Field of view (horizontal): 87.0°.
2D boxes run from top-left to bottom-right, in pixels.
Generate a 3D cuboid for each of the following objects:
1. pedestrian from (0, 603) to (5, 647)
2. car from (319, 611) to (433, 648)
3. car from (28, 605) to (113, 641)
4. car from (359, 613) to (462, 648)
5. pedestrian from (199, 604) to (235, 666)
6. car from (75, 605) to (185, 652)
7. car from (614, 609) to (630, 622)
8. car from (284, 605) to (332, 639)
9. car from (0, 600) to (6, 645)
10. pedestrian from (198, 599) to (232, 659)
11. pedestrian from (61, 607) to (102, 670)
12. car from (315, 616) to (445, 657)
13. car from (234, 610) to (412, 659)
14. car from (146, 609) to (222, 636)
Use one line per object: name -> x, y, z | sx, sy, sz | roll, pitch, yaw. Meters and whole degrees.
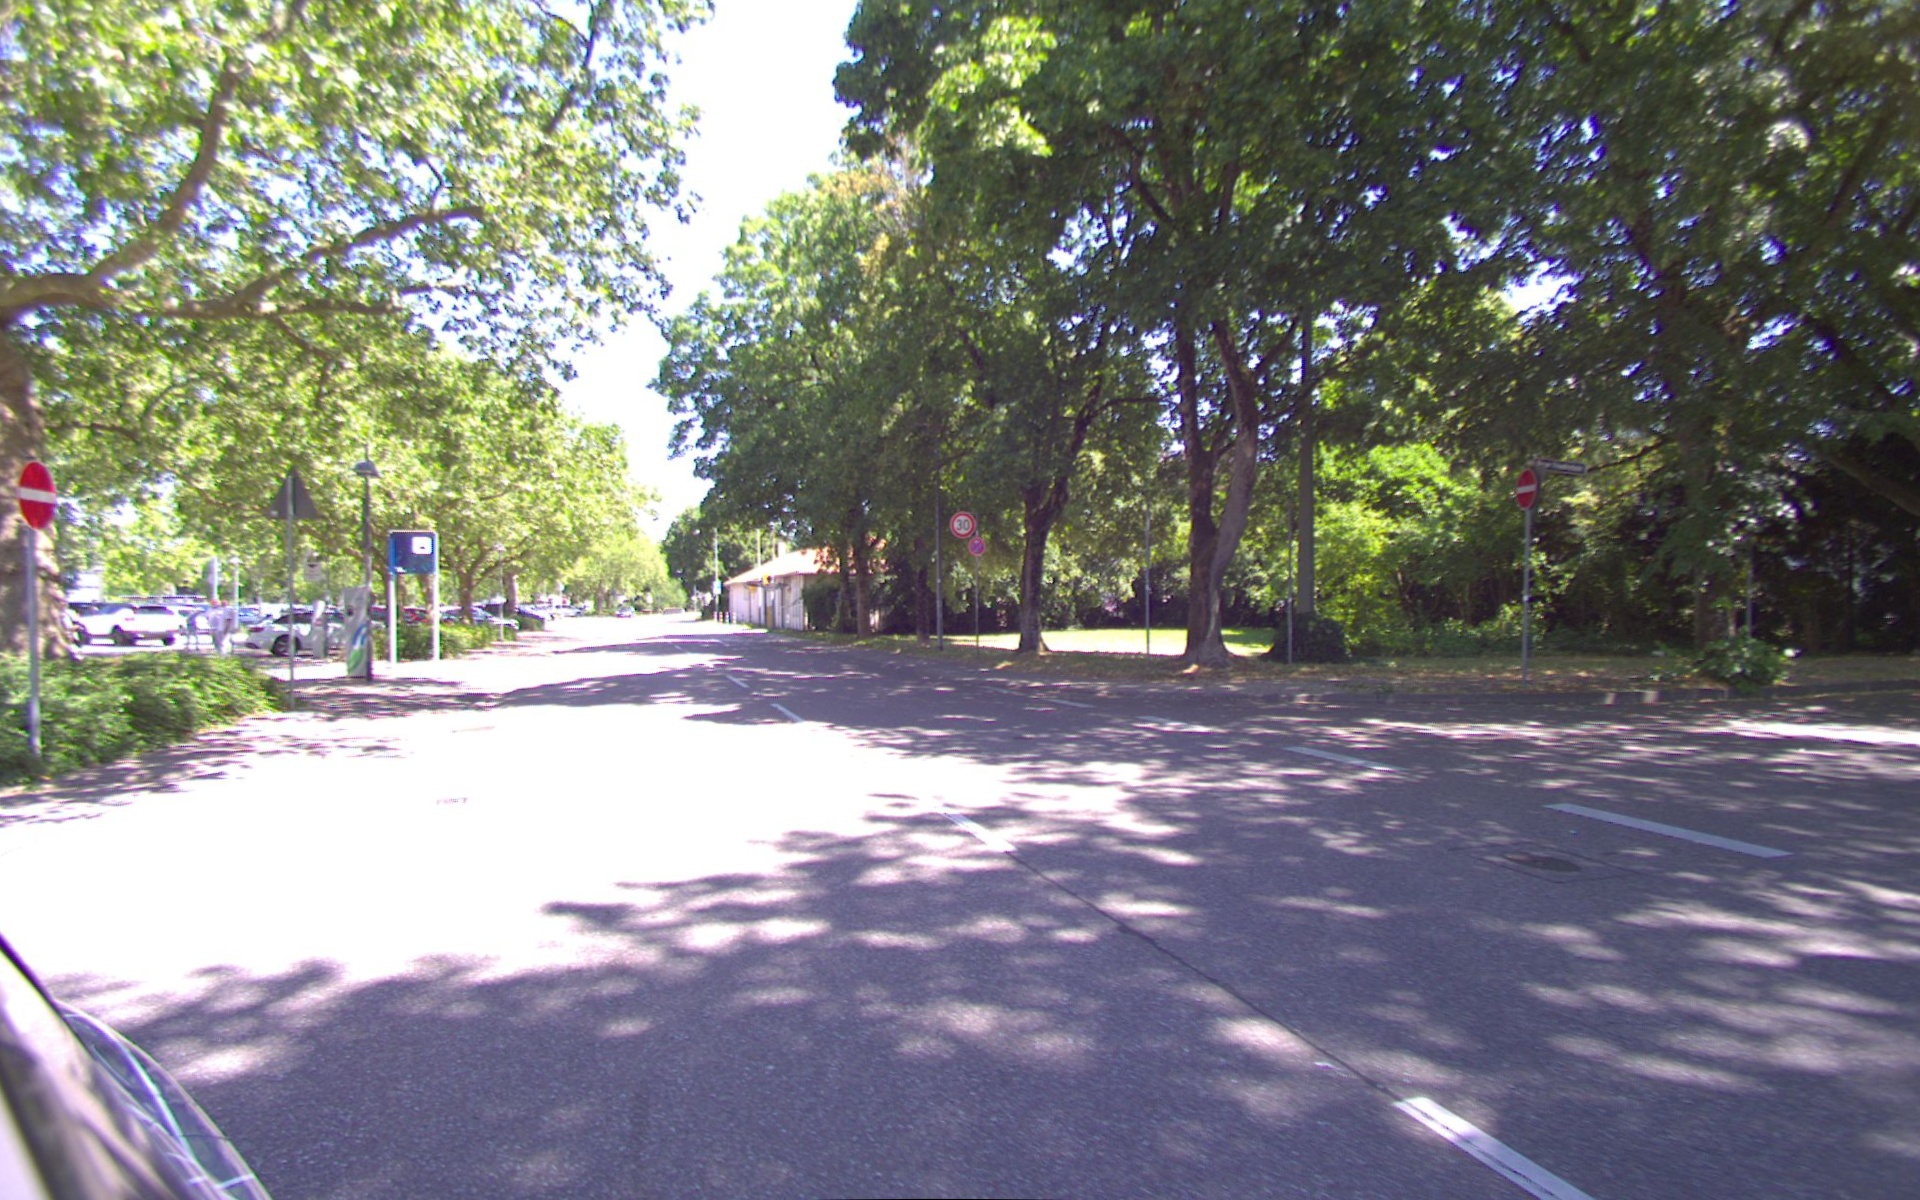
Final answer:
pedestrian -> -44.070, 1.131, 46.100 | 0.618, 2.005, 0.619 | -2, 0, -24
car -> -24.462, 1.200, 42.466 | 1.636, 1.471, 3.822 | -1, -1, 43
car -> -49.558, 1.225, 56.513 | 1.966, 1.802, 4.261 | -3, 1, -18
car -> -24.979, 1.363, 46.099 | 1.636, 1.471, 3.822 | -1, -1, 43
pedestrian -> -22.111, 1.025, 30.132 | 0.825, 1.784, 0.853 | 0, -1, -39
car -> -32.060, 1.068, 39.077 | 4.042, 1.617, 1.785 | 1, 1, 26
car -> -38.673, 1.793, 115.758 | 1.633, 1.386, 3.462 | -3, 0, -18
car -> -37.785, 1.253, 58.623 | 1.712, 1.908, 4.005 | 0, -1, -42
car -> -43.345, 1.032, 43.459 | 1.970, 2.005, 4.618 | -2, 0, -24
pedestrian -> -22.833, 0.872, 31.021 | 0.825, 1.784, 0.853 | 0, -1, -38
pedestrian -> -22.293, 0.964, 25.687 | 0.579, 1.560, 0.612 | 0, -1, -17
car -> -22.268, 1.370, 38.929 | 1.877, 1.416, 3.972 | -1, -1, 42
car -> -20.472, 1.053, 32.613 | 4.701, 1.427, 1.790 | 0, 0, -38
car -> -42.090, 1.218, 54.885 | 3.489, 1.414, 1.791 | -1, -1, 22
